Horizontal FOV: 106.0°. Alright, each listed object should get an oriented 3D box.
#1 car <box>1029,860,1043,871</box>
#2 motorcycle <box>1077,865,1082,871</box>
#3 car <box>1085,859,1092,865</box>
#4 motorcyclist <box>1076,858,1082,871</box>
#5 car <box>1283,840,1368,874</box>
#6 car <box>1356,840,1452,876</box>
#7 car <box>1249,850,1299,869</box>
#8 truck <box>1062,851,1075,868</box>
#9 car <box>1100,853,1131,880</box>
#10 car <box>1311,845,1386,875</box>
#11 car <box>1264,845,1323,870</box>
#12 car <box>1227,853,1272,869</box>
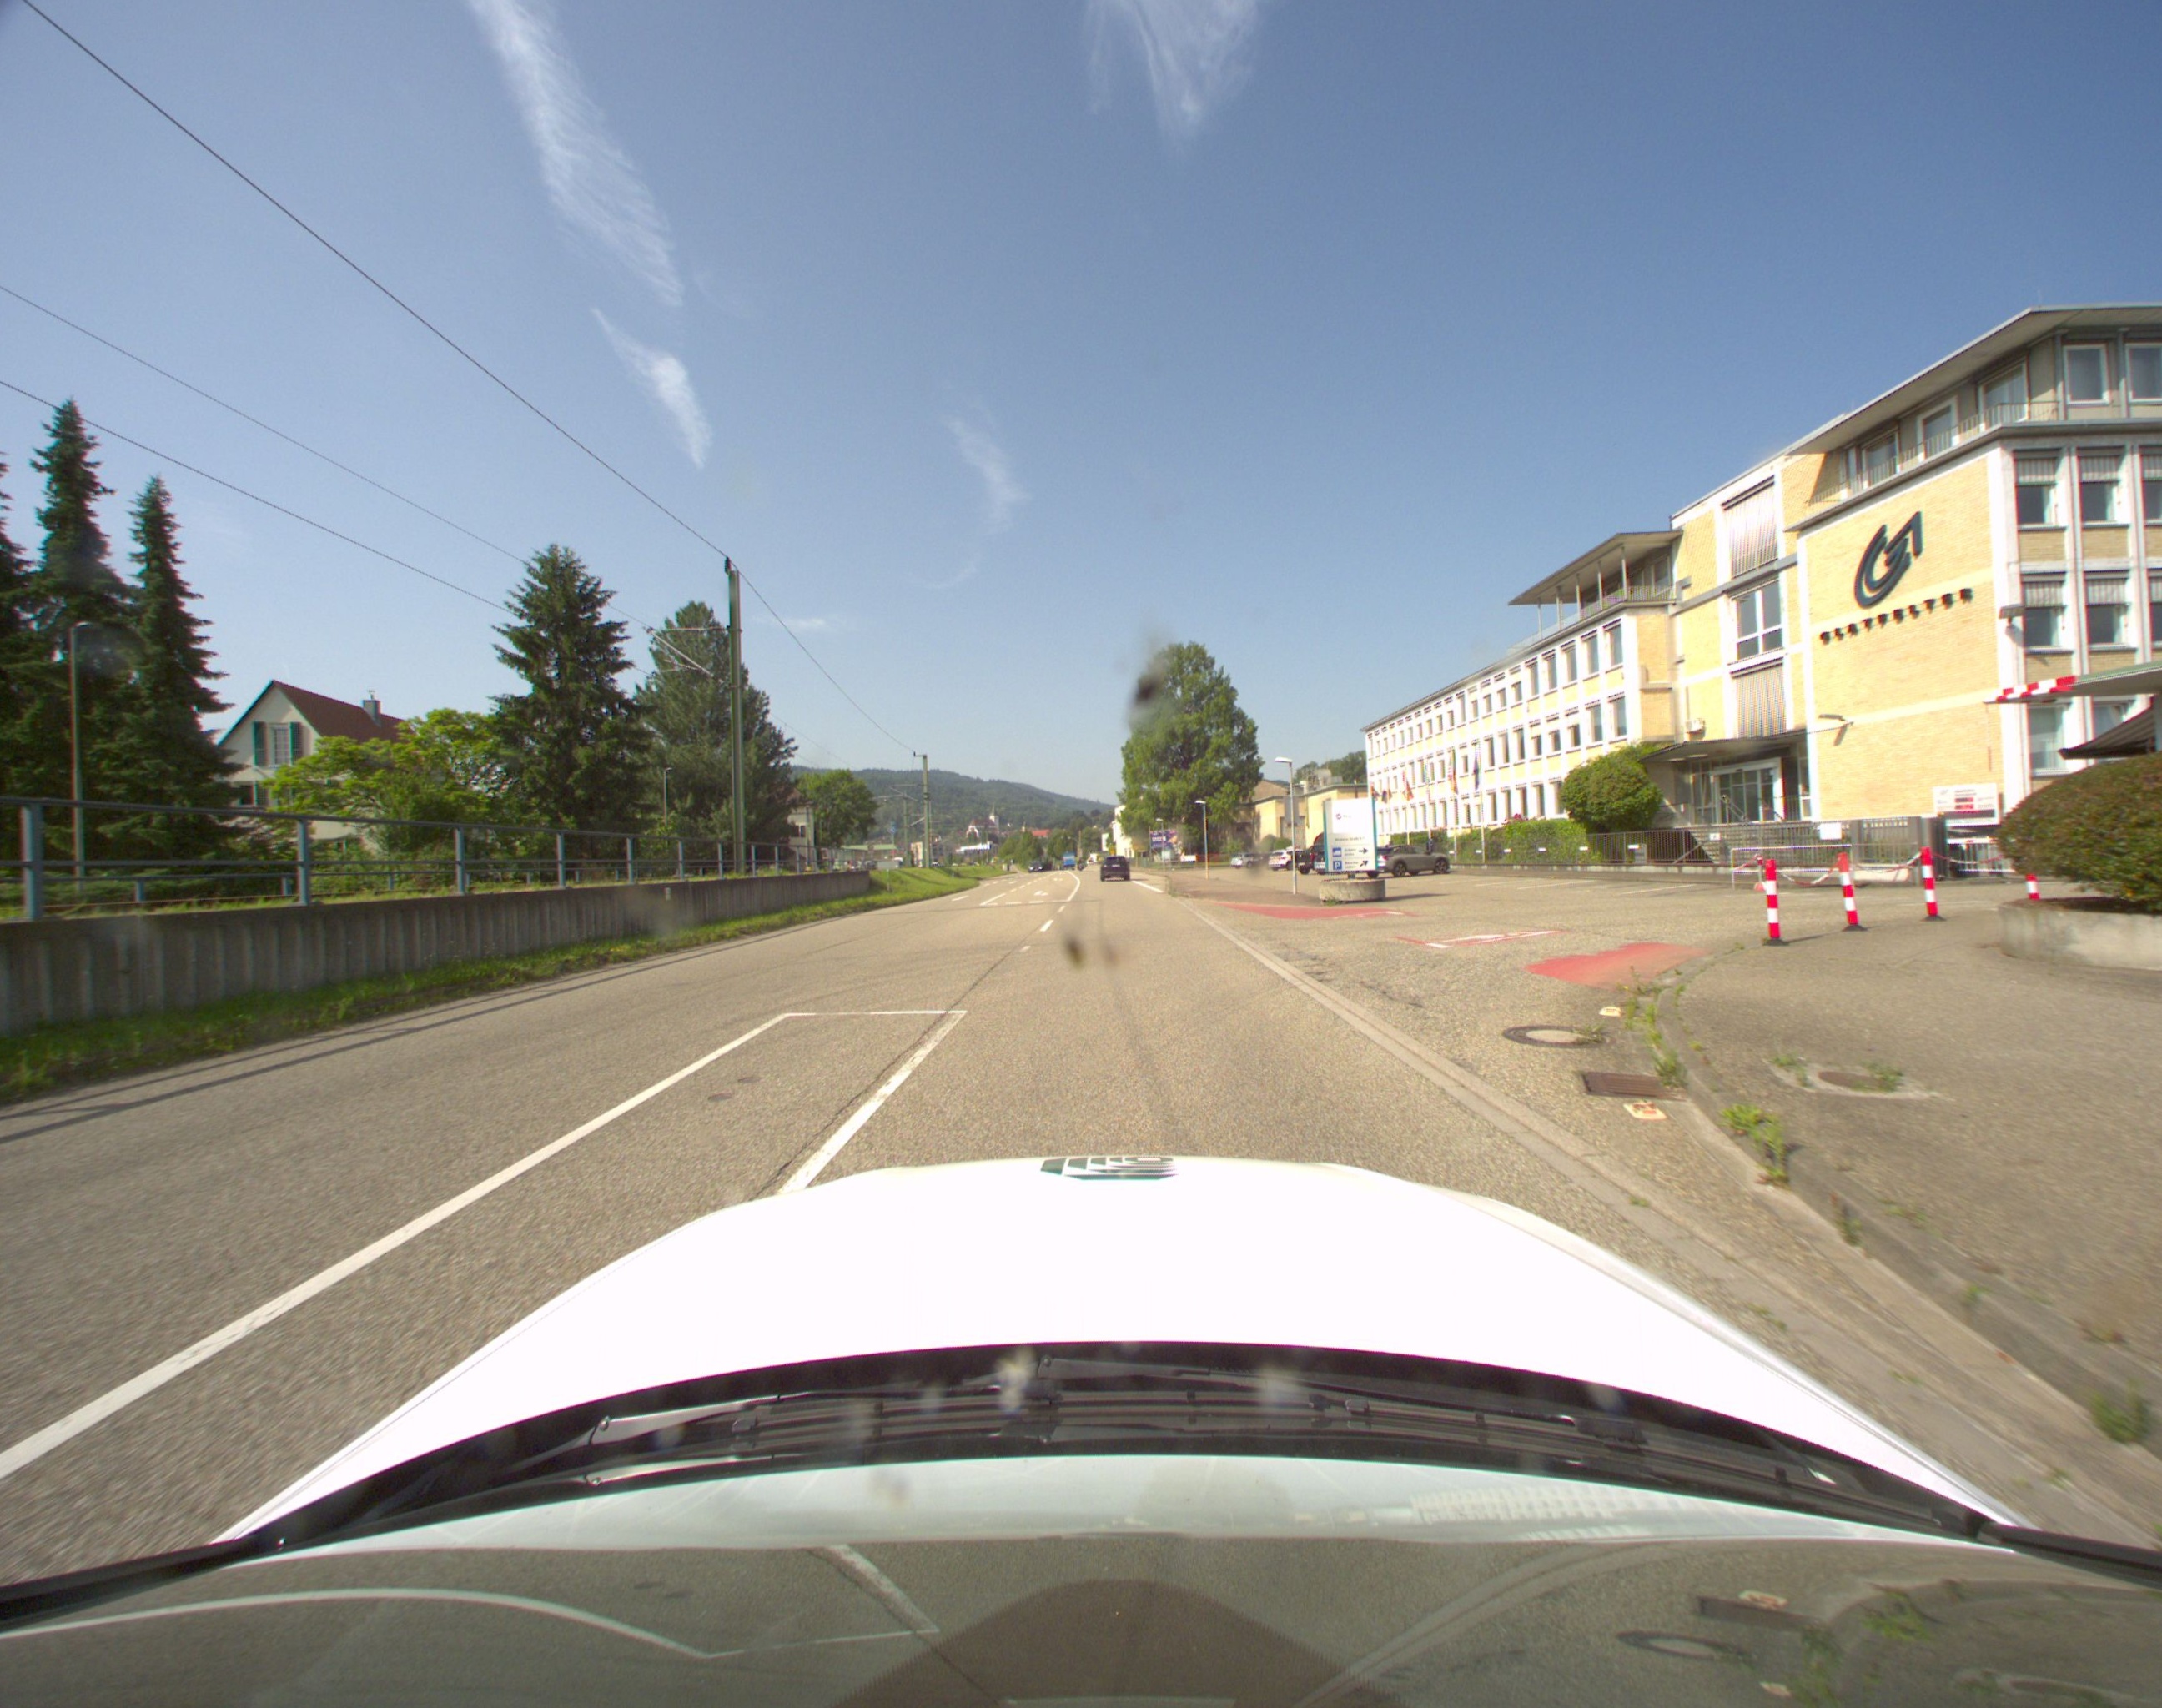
[{"bbox_3d":[-5.934,1.528,108.122,1.751,1.429,3.997,-2,-1,-2],"label":"car"},{"bbox_3d":[-0.178,1.680,97.802,0.604,0.753,1.414,-2,-1,0],"label":"motorcycle"},{"bbox_3d":[2.129,2.210,220.892,1.760,1.486,4.001,-1,-1,2],"label":"car"},{"bbox_3d":[-0.231,1.210,97.813,0.604,1.520,0.863,-2,-1,0],"label":"motorcyclist"},{"bbox_3d":[15.133,0.170,50.284,5.050,1.832,1.964,-2,-1,-28],"label":"car"},{"bbox_3d":[15.341,0.192,38.623,4.323,1.505,1.869,-2,-1,-28],"label":"car"},{"bbox_3d":[15.969,0.418,67.410,4.013,1.401,1.648,-2,-1,-31],"label":"car"},{"bbox_3d":[-2.300,0.939,149.258,2.306,2.970,5.961,-2,0,-2],"label":"truck"},{"bbox_3d":[2.250,0.818,53.476,1.912,1.640,4.002,-2,-1,2],"label":"car"},{"bbox_3d":[15.457,0.333,47.017,4.010,1.505,1.869,-2,-1,-28],"label":"car"},{"bbox_3d":[16.104,0.248,61.601,4.185,1.672,1.852,-2,-1,-29],"label":"car"},{"bbox_3d":[15.687,0.640,75.598,4.013,1.401,1.648,-2,-1,-31],"label":"car"}]
